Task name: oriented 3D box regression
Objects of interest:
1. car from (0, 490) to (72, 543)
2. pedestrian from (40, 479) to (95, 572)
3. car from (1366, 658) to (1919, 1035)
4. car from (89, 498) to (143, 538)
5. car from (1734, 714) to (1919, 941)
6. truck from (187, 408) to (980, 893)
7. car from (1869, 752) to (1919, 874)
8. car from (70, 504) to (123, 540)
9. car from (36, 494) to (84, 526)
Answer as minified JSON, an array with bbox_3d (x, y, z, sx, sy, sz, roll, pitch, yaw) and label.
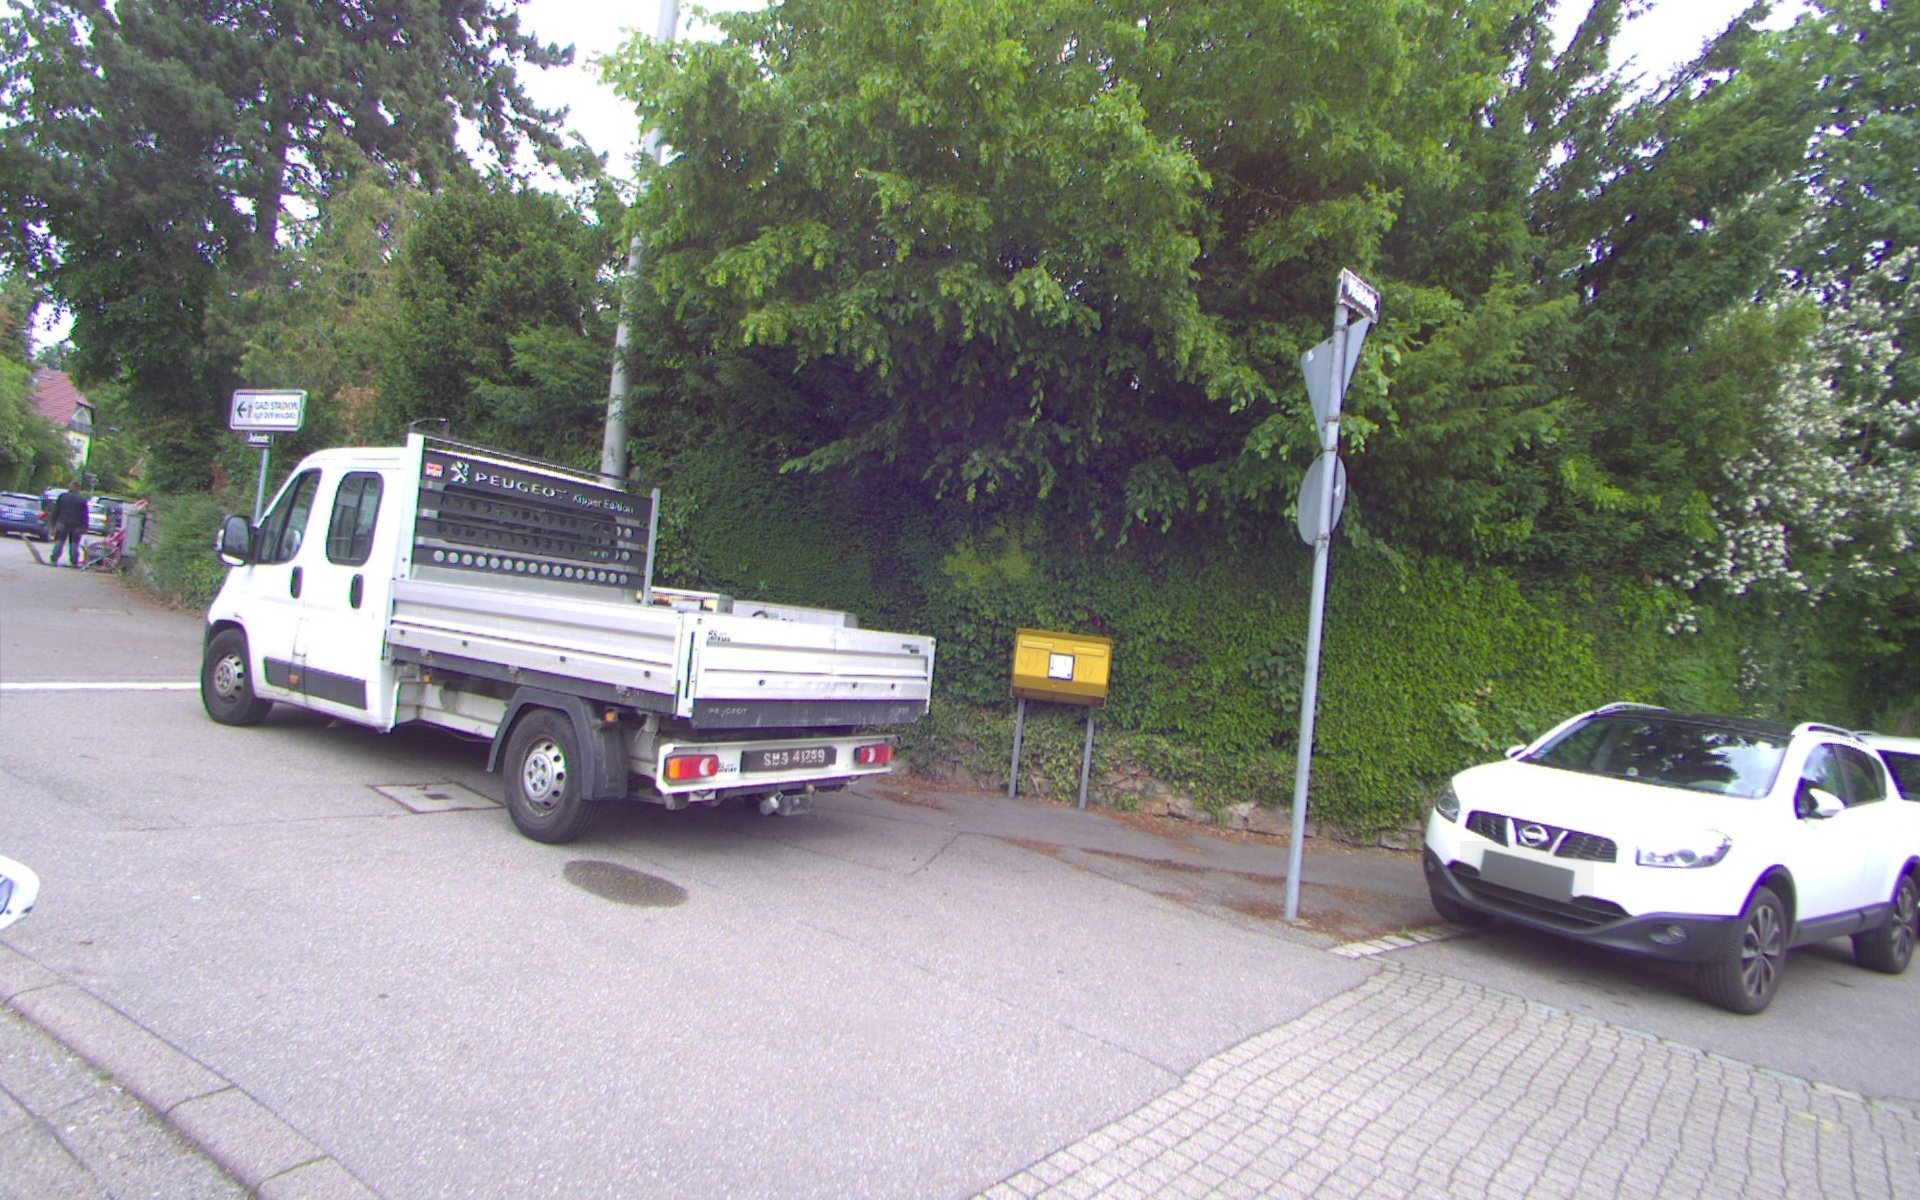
[{"bbox_3d":[-32.524,-2.927,35.061,1.790,1.545,4.697,7,0,-36],"label":"car"},{"bbox_3d":[-19.592,-1.636,22.094,0.549,1.929,0.597,7,-1,32],"label":"pedestrian"},{"bbox_3d":[4.770,1.473,6.658,4.098,1.641,1.783,9,-2,-34],"label":"car"},{"bbox_3d":[-49.501,-4.780,59.071,1.910,1.915,4.859,10,-2,-36],"label":"car"},{"bbox_3d":[9.049,2.119,9.471,4.041,1.641,1.781,9,-3,-38],"label":"car"},{"bbox_3d":[-2.930,0.087,7.163,5.631,2.270,2.211,6,-2,34],"label":"truck"},{"bbox_3d":[13.777,2.931,13.396,4.040,1.440,1.781,8,-2,-38],"label":"car"},{"bbox_3d":[-41.715,-3.792,48.668,1.686,1.448,3.708,7,0,-38],"label":"car"},{"bbox_3d":[-64.318,-6.416,71.958,1.901,1.903,5.092,6,-1,-36],"label":"car"}]
